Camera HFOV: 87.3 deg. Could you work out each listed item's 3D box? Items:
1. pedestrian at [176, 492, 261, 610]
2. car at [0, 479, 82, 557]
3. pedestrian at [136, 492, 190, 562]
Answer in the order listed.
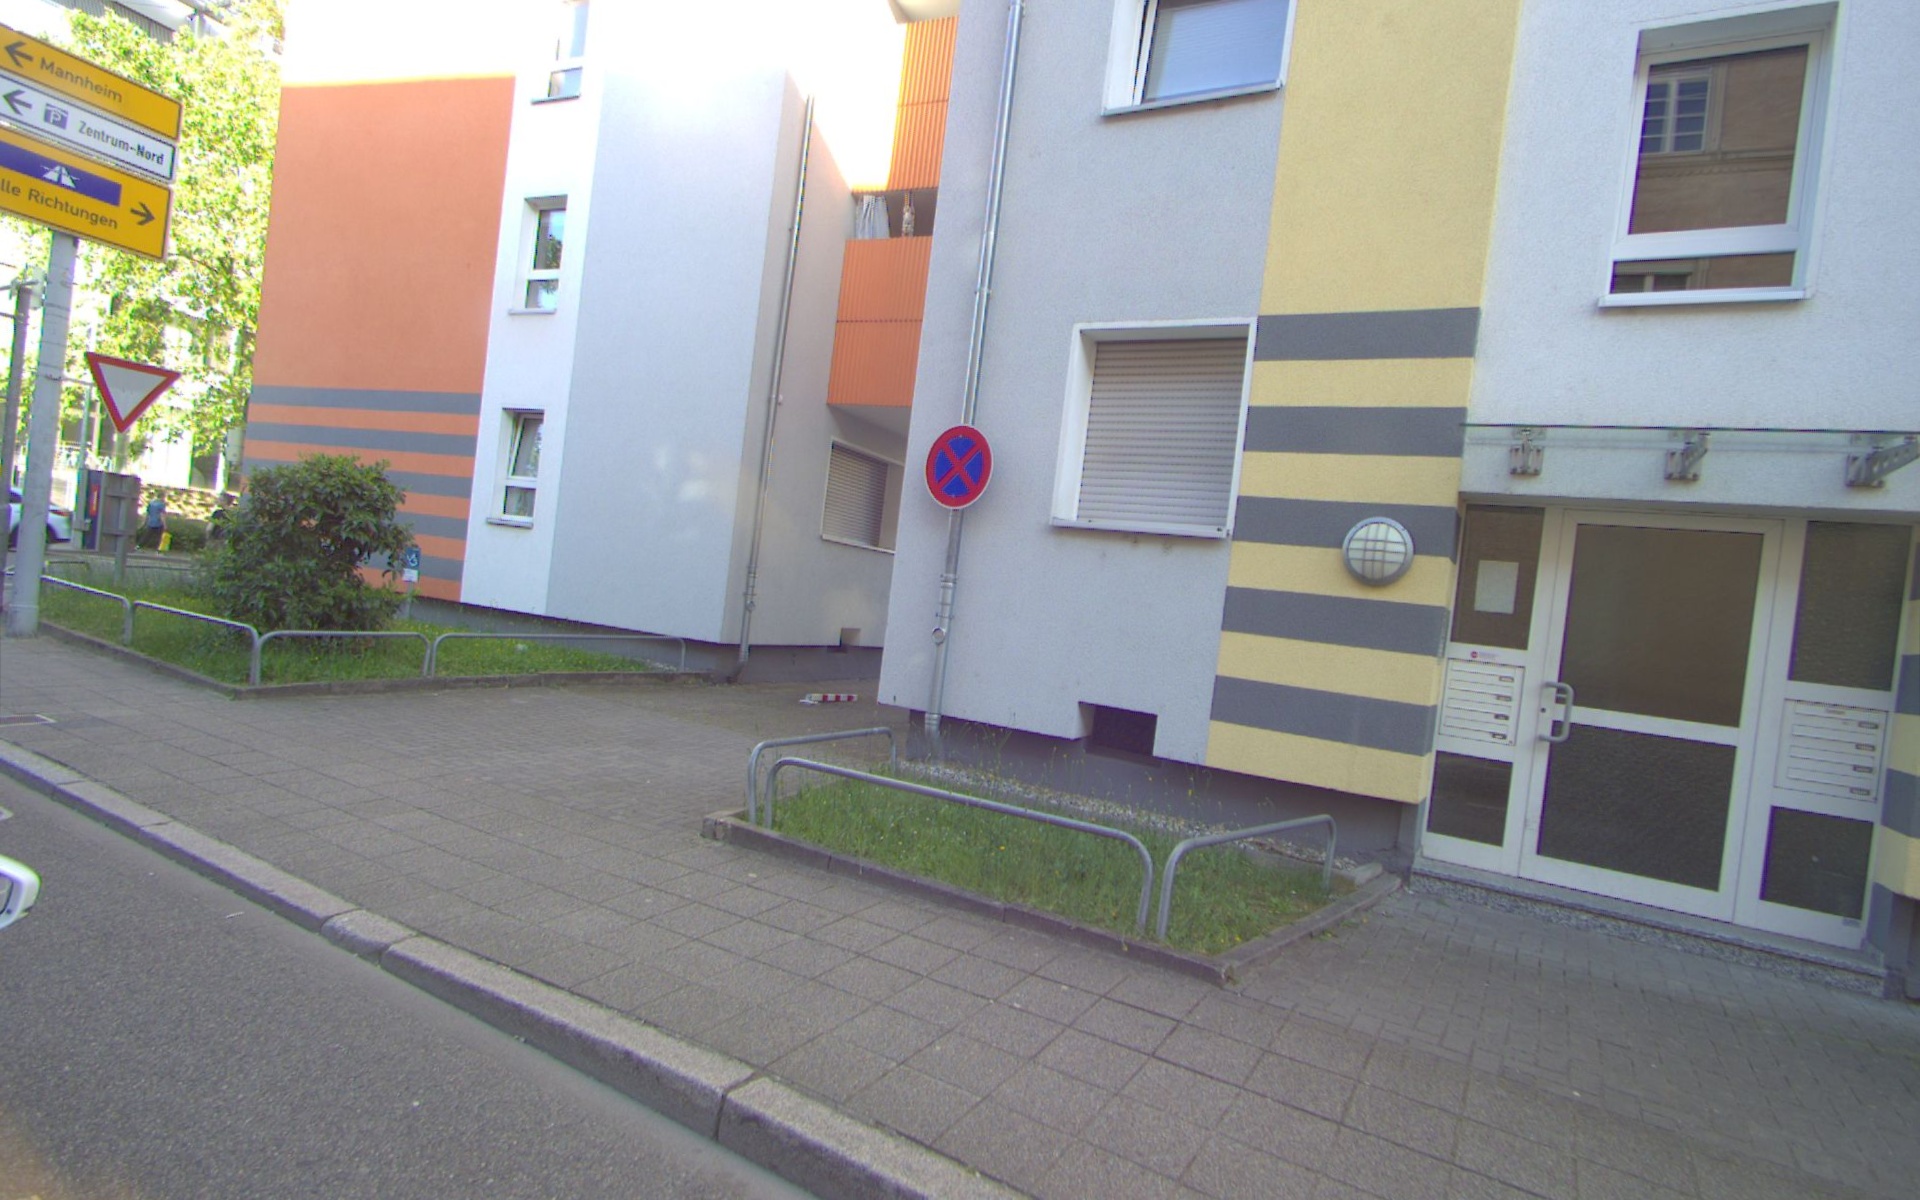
[{"bbox_3d":[-12.633,-0.823,17.146,0.823,1.861,0.708,8,-1,32],"label":"pedestrian"},{"bbox_3d":[-22.364,-2.026,22.017,1.792,1.595,4.329,7,0,28],"label":"car"},{"bbox_3d":[-22.991,-2.107,29.015,0.697,1.861,0.836,8,-1,30],"label":"pedestrian"}]
